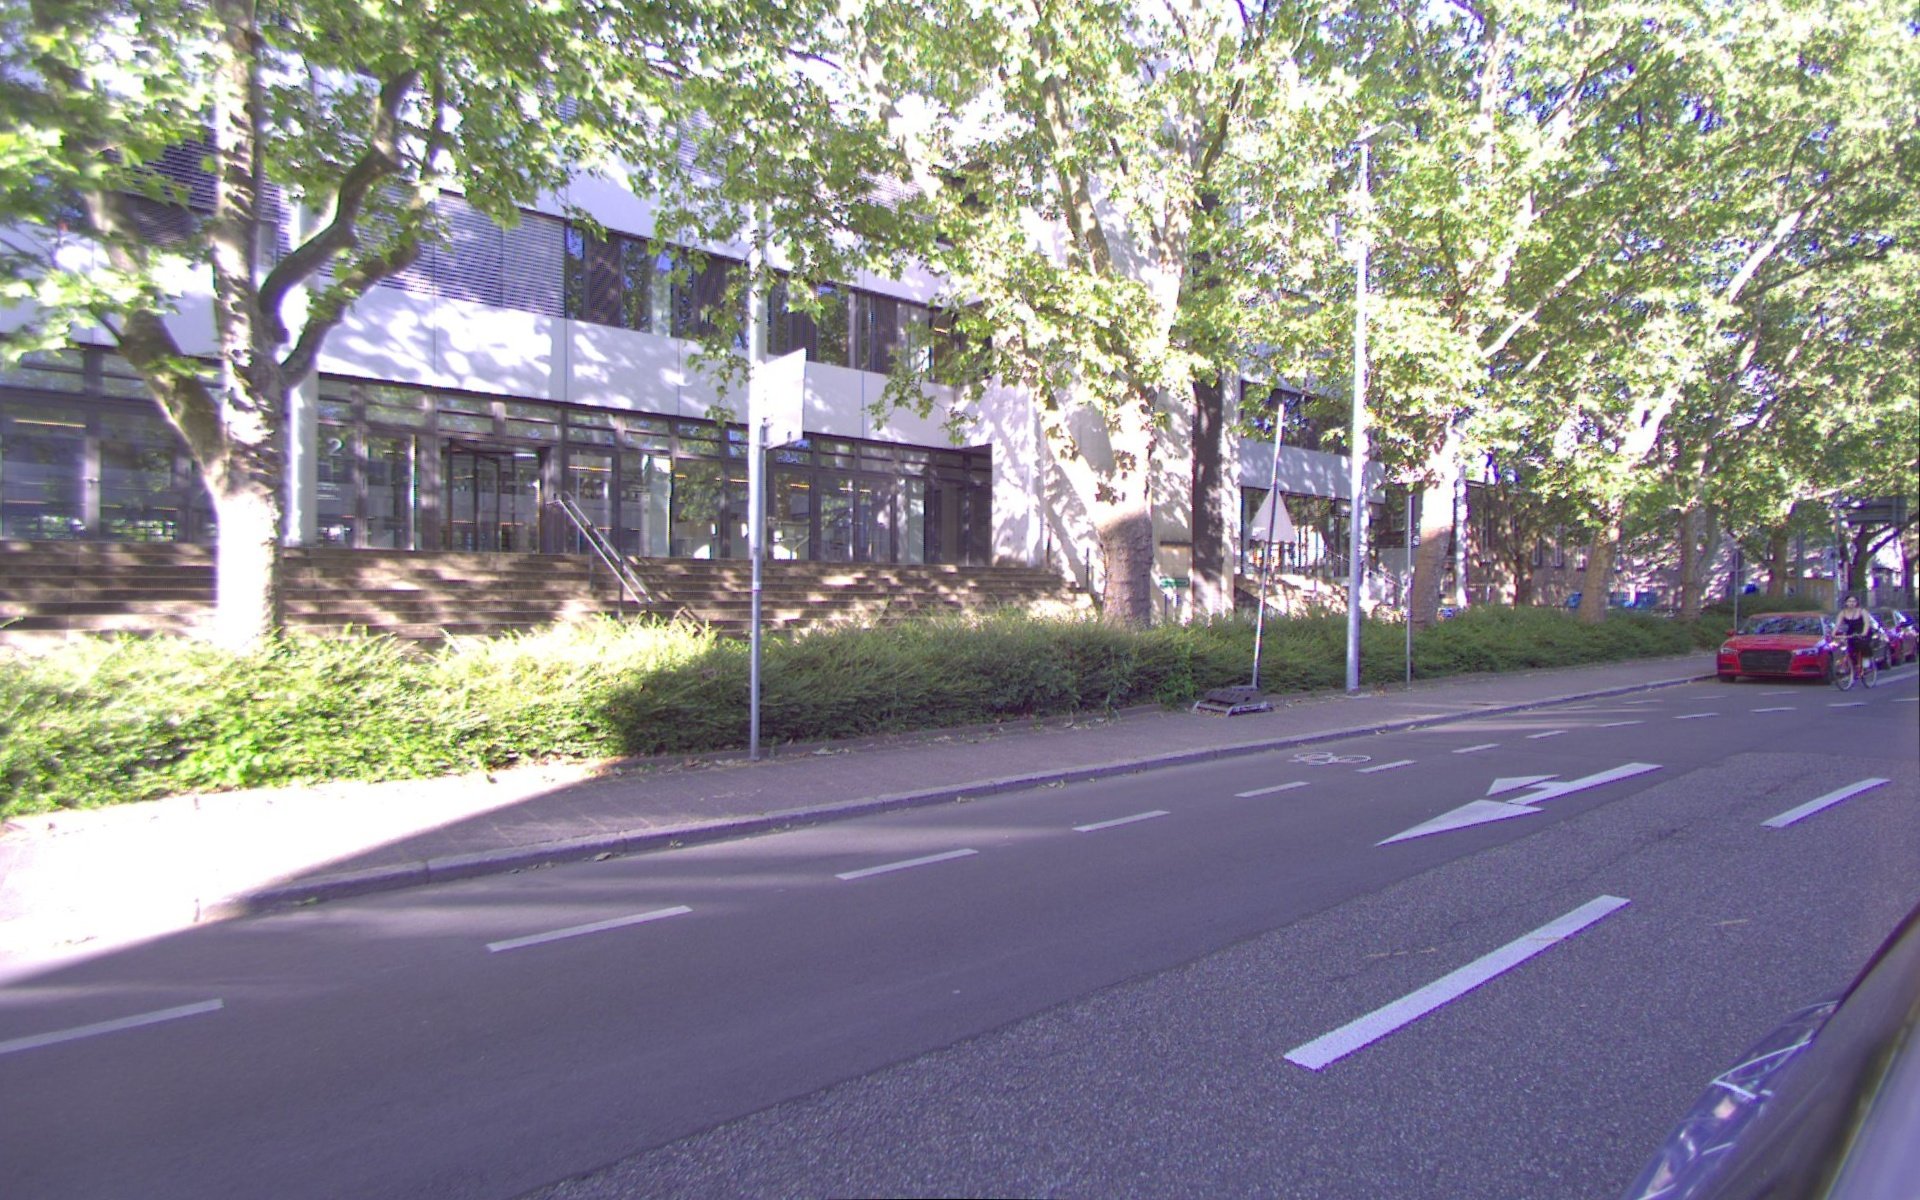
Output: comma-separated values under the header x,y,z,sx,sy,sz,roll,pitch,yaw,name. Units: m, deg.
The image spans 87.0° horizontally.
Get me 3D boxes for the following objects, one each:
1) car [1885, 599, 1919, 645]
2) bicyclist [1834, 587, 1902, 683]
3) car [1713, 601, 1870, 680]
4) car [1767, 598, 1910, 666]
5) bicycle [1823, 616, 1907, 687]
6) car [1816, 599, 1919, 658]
x,y,z,sx,sy,sz,roll,pitch,yaw,name
32.134,0.701,33.340,4.003,1.469,1.898,0,0,-39,car
16.612,0.620,18.513,0.880,1.701,0.769,0,-2,-41,bicyclist
17.324,0.764,21.025,4.006,1.461,1.897,0,0,-41,car
20.871,0.697,24.009,4.003,1.466,1.898,0,0,-39,car
16.499,0.898,18.421,2.766,1.150,0.769,-1,-1,-41,bicycle
24.980,0.711,27.522,4.003,1.469,1.898,0,0,-39,car
